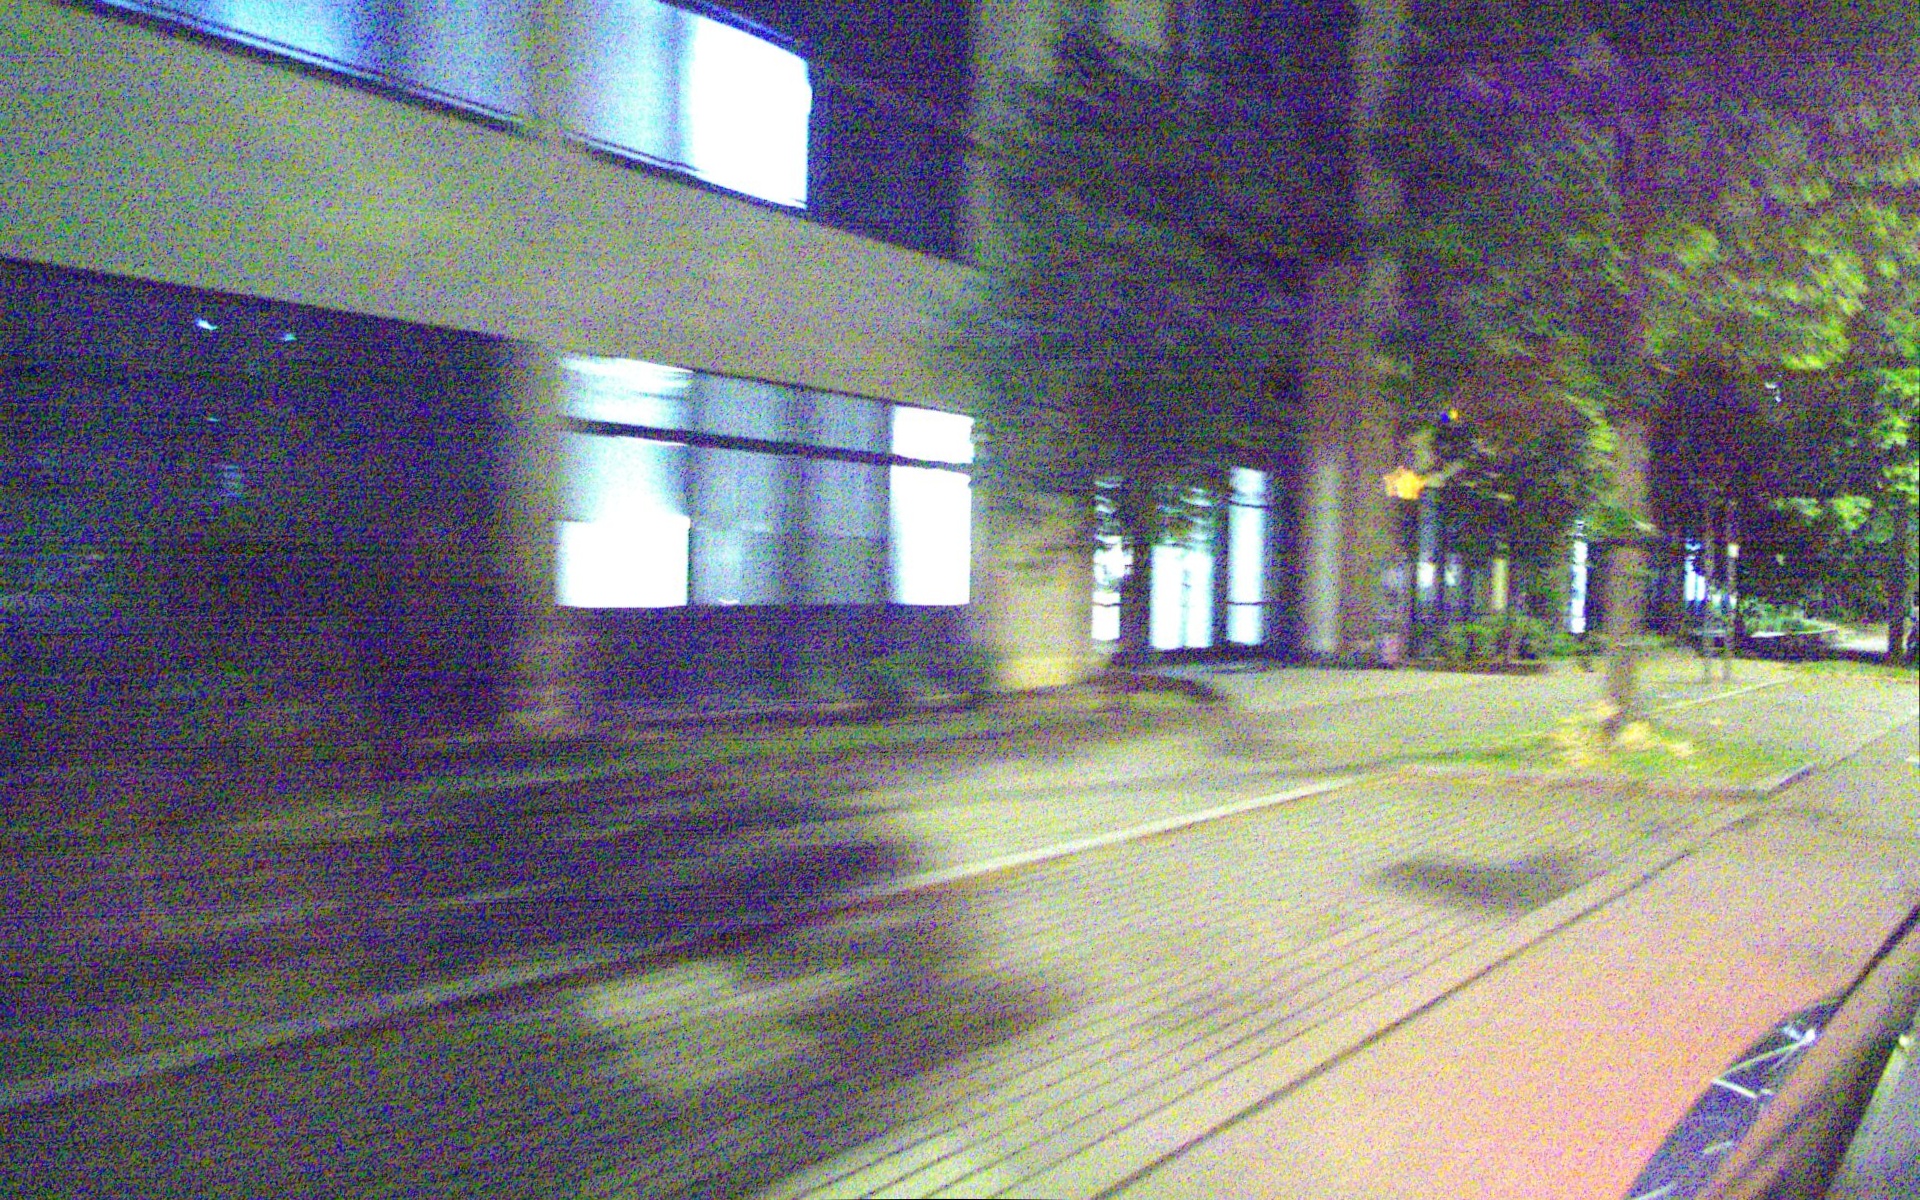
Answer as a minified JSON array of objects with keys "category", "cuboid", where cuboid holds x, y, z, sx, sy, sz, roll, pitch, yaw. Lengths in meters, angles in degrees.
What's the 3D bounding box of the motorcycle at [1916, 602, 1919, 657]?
[{"category":"motorcycle","cuboid":[22.925,0.738,23.081,0.919,1.299,2.216,2,2,24]}]
